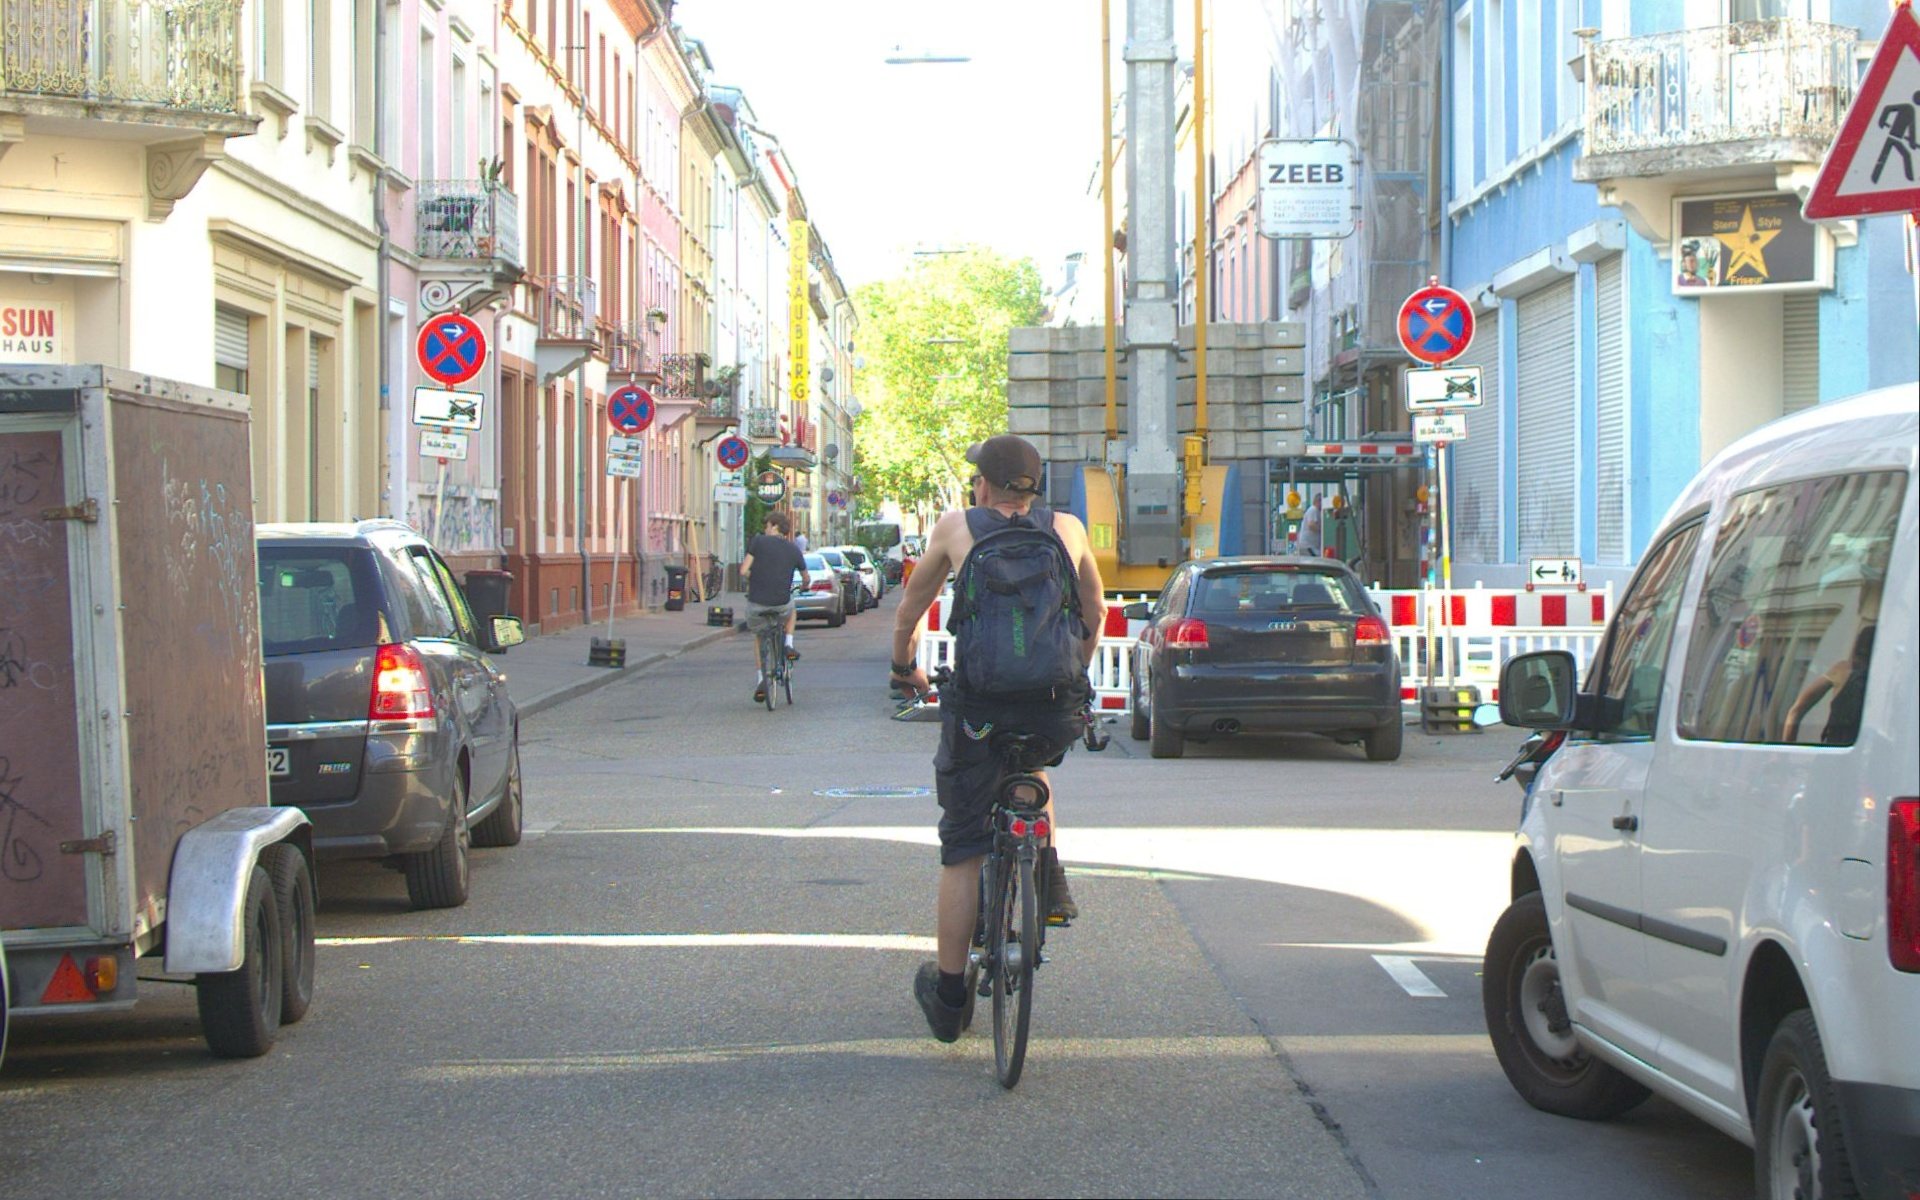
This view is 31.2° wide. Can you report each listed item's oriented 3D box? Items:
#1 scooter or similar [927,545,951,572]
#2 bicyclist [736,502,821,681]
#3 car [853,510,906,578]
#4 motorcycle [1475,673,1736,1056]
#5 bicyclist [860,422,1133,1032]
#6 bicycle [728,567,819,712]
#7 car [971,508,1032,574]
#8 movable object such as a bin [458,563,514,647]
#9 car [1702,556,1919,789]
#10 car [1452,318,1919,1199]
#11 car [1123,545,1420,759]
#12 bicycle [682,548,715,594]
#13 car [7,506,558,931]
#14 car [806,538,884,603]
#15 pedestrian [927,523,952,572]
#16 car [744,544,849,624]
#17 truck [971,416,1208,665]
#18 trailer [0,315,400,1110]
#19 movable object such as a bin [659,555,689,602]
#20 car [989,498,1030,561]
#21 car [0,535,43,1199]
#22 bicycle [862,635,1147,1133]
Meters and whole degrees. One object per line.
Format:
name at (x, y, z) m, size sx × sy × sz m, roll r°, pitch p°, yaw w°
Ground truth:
scooter or similar at (-0.675, -1.349, 111.254) m, size 0.770 × 0.870 × 0.771 m, roll 1°, pitch 1°, yaw -1°
bicyclist at (-1.651, -0.086, 31.396) m, size 0.702 × 1.599 × 0.813 m, roll -1°, pitch 2°, yaw 0°
car at (-3.044, -2.109, 129.444) m, size 1.909 × 2.488 × 4.166 m, roll -1°, pitch 1°, yaw -2°
motorcycle at (2.162, 0.835, 11.527) m, size 0.719 × 1.082 × 1.995 m, roll -4°, pitch 0°, yaw 11°
bicyclist at (0.099, 0.335, 9.783) m, size 0.702 × 1.627 × 1.090 m, roll 1°, pitch 1°, yaw 0°
bicycle at (-1.695, 0.334, 31.482) m, size 0.702 × 1.203 × 2.342 m, roll -1°, pitch 2°, yaw 0°
car at (1.652, -2.376, 140.117) m, size 2.307 × 2.529 × 6.770 m, roll -2°, pitch 1°, yaw 0°
movable object such as a bin at (-5.934, 0.063, 43.057) m, size 0.605 × 1.032 × 0.596 m, roll 1°, pitch 1°, yaw -1°
car at (6.993, 0.458, 22.576) m, size 3.867 × 1.448 × 1.677 m, roll 0°, pitch 1°, yaw 0°
car at (2.339, 0.441, 7.790) m, size 1.748 × 1.810 × 4.370 m, roll 1°, pitch 1°, yaw 0°
car at (2.210, 0.321, 25.356) m, size 1.771 × 1.429 × 4.034 m, roll 1°, pitch 1°, yaw -1°
bicycle at (-6.331, -0.713, 83.263) m, size 0.592 × 1.085 × 2.079 m, roll 1°, pitch 1°, yaw 0°
car at (-2.864, 0.404, 15.401) m, size 1.722 × 1.600 × 4.167 m, roll -2°, pitch 1°, yaw -2°
car at (-2.723, -0.712, 82.046) m, size 1.672 × 1.437 × 4.165 m, roll -2°, pitch 1°, yaw 0°
pedestrian at (-0.681, -1.697, 111.654) m, size 0.770 × 1.573 × 0.900 m, roll 1°, pitch 1°, yaw -1°
car at (-3.023, -0.309, 64.393) m, size 1.710 × 1.378 × 4.506 m, roll -2°, pitch 1°, yaw 0°
truck at (1.509, -0.727, 43.205) m, size 2.661 × 2.804 × 7.393 m, roll 1°, pitch 1°, yaw 0°
trailer at (-2.925, 0.285, 11.101) m, size 1.661 × 2.054 × 4.364 m, roll -2°, pitch 1°, yaw -3°
movable object such as a bin at (-5.855, -0.443, 70.409) m, size 0.543 × 0.941 × 0.487 m, roll 1°, pitch 0°, yaw 1°
car at (3.060, -4.344, 213.639) m, size 2.307 × 3.755 × 6.770 m, roll -2°, pitch 1°, yaw 0°
car at (-2.998, 0.670, 6.156) m, size 1.676 × 1.549 × 3.818 m, roll -2°, pitch 1°, yaw 0°
bicycle at (0.115, 0.735, 9.920) m, size 0.702 × 1.204 × 2.342 m, roll 1°, pitch 1°, yaw 0°
